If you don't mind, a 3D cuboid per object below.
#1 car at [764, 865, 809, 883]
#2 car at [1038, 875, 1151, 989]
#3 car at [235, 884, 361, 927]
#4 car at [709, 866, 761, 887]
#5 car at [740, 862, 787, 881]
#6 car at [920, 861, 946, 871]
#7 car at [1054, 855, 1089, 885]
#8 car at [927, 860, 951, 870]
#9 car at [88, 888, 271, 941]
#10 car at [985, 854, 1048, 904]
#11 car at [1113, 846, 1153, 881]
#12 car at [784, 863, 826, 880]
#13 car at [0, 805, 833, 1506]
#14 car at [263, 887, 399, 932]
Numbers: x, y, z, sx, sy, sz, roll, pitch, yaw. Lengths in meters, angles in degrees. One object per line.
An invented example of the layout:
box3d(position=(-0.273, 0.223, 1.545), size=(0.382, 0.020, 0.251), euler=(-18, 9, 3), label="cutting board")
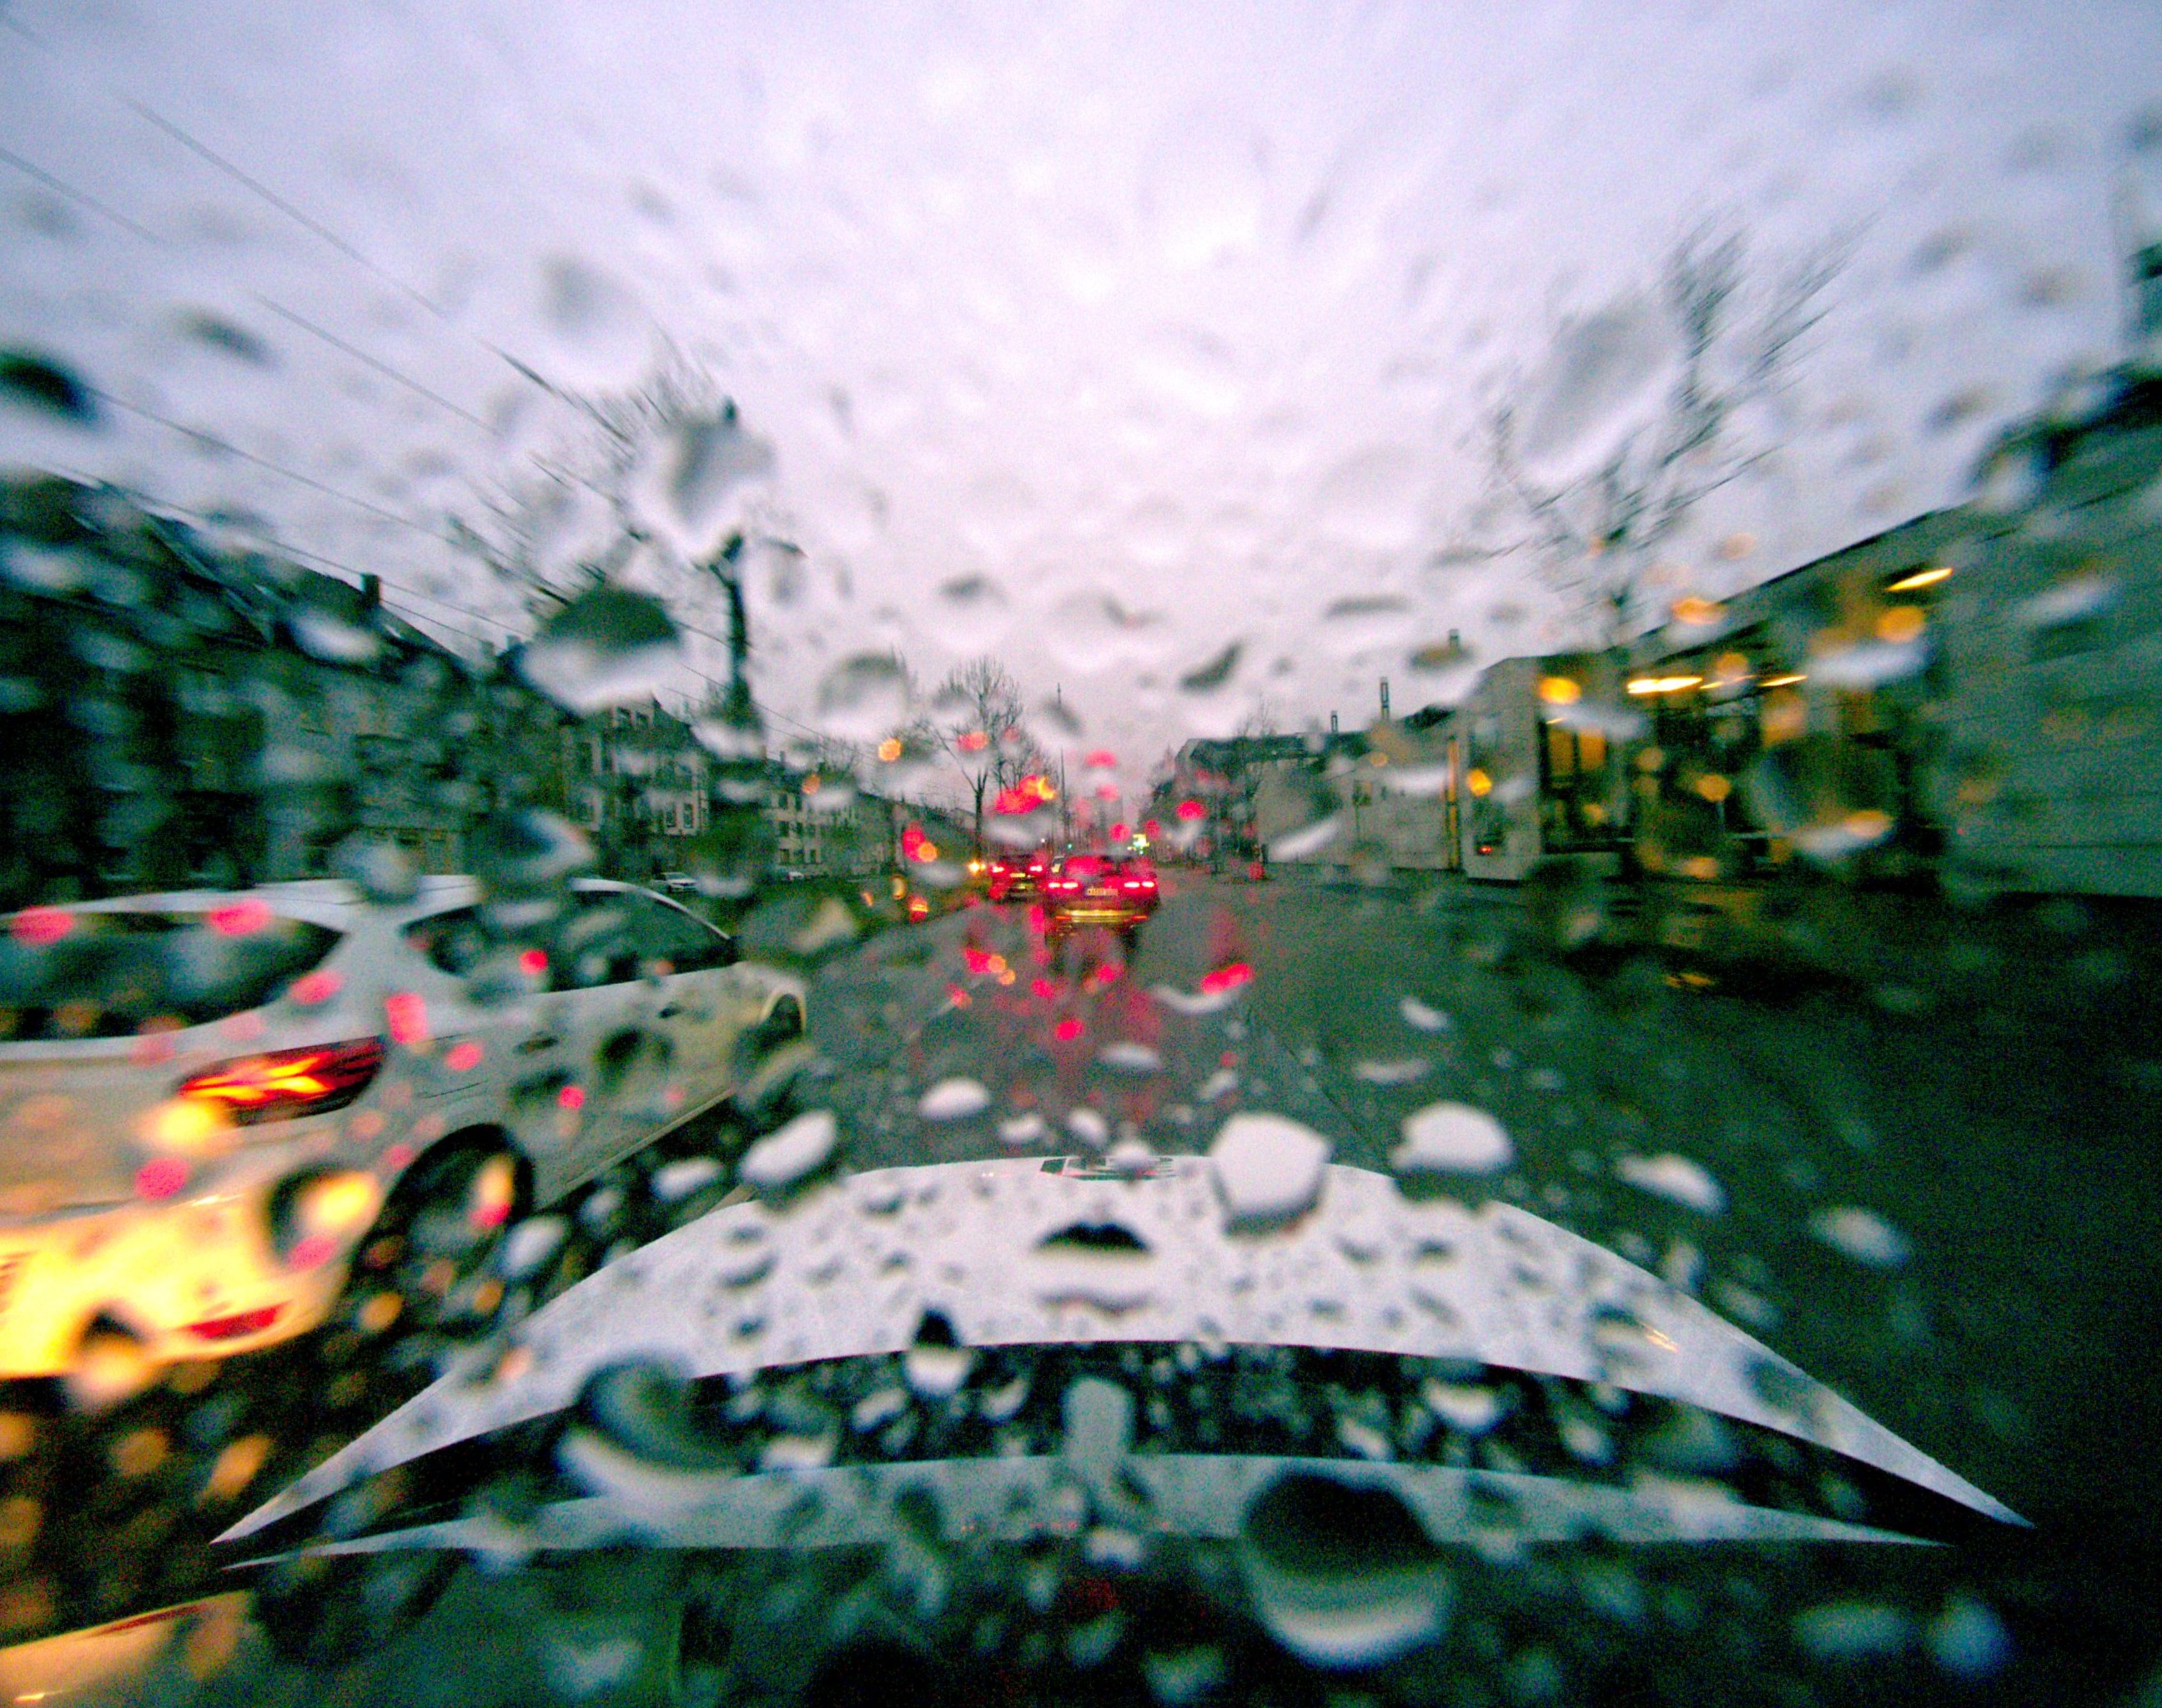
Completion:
box3d(position=(-24.631, 1.640, 68.143), size=(3.510, 1.354, 1.793), euler=(-3, 0, 36), label="car")
box3d(position=(0.316, 1.224, 14.293), size=(1.665, 1.600, 4.057), euler=(-1, 0, 3), label="car")
box3d(position=(-32.925, 2.138, 34.393), size=(1.769, 1.500, 3.558), euler=(-3, 0, 2), label="car")
box3d(position=(-24.909, 1.652, 58.580), size=(3.510, 1.354, 1.793), euler=(-3, 0, 36), label="car")
box3d(position=(-25.104, 1.412, 64.303), size=(3.510, 1.354, 1.793), euler=(-3, 0, 36), label="car")
box3d(position=(-22.239, 1.815, 122.319), size=(3.510, 1.354, 1.793), euler=(-3, 0, 36), label="car")
box3d(position=(-0.485, 0.873, 46.360), size=(1.665, 1.600, 4.057), euler=(-1, 0, 3), label="car")
box3d(position=(-22.455, 1.722, 128.669), size=(3.510, 1.354, 1.793), euler=(-3, 0, 36), label="car")
box3d(position=(-28.712, 1.873, 26.118), size=(1.769, 1.354, 3.558), euler=(-3, 0, 2), label="car")
box3d(position=(-2.189, 0.831, 28.642), size=(1.665, 1.600, 4.057), euler=(-1, 0, 3), label="car")
box3d(position=(2.764, 0.500, 43.614), size=(1.985, 1.744, 4.003), euler=(-2, 0, 3), label="car")
box3d(position=(-24.446, 1.536, 72.059), size=(3.510, 1.354, 1.793), euler=(-3, 0, 36), label="car")
box3d(position=(-2.631, 0.712, 3.905), size=(1.667, 1.600, 4.051), euler=(-1, 0, -1), label="car")
box3d(position=(-28.499, 2.073, 31.114), size=(1.769, 1.354, 3.558), euler=(-3, 0, 2), label="car")
